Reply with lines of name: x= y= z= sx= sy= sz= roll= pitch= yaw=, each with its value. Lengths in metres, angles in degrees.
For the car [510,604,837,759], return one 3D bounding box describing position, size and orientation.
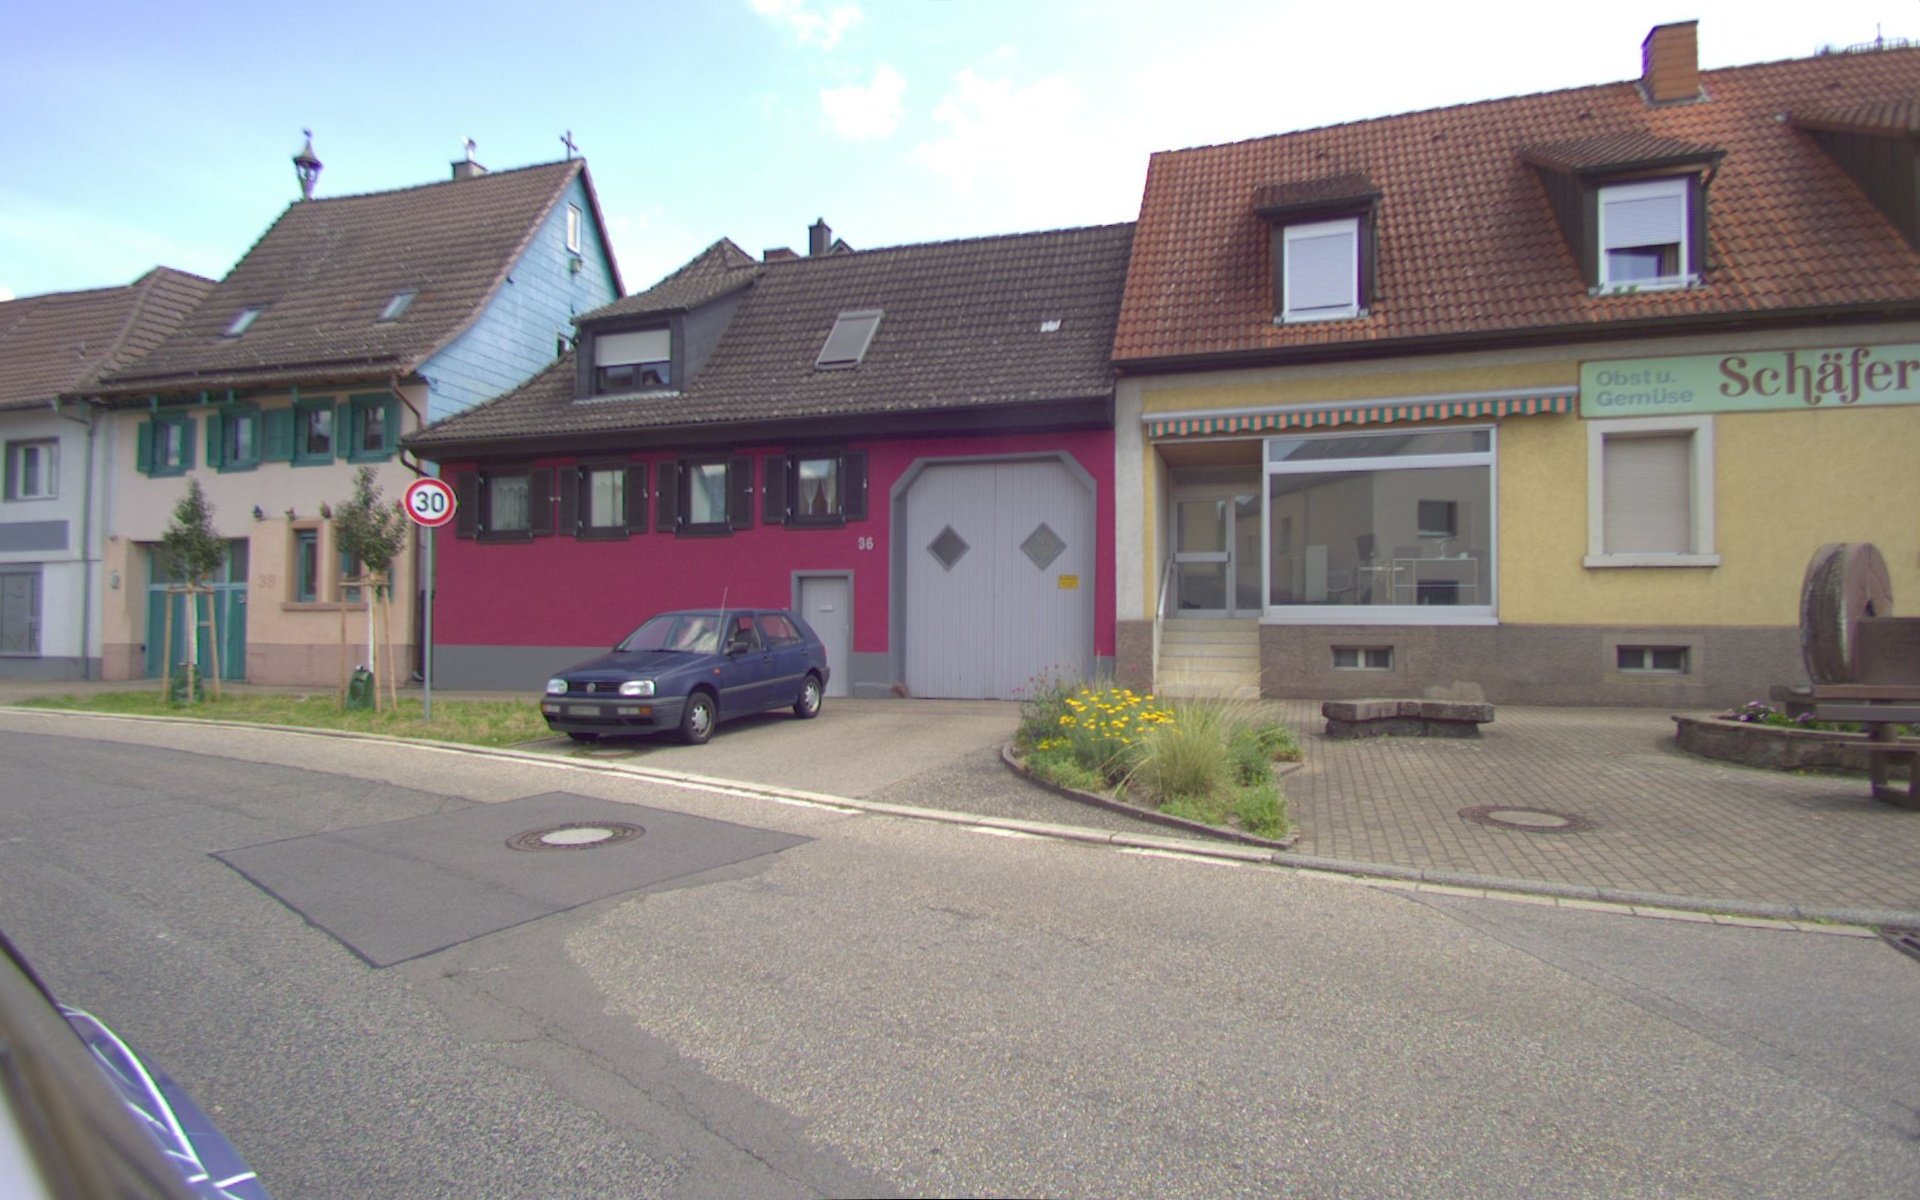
car: x=-3.098 y=0.793 z=11.825 sx=1.708 sy=1.475 sz=3.953 roll=0 pitch=0 yaw=20
